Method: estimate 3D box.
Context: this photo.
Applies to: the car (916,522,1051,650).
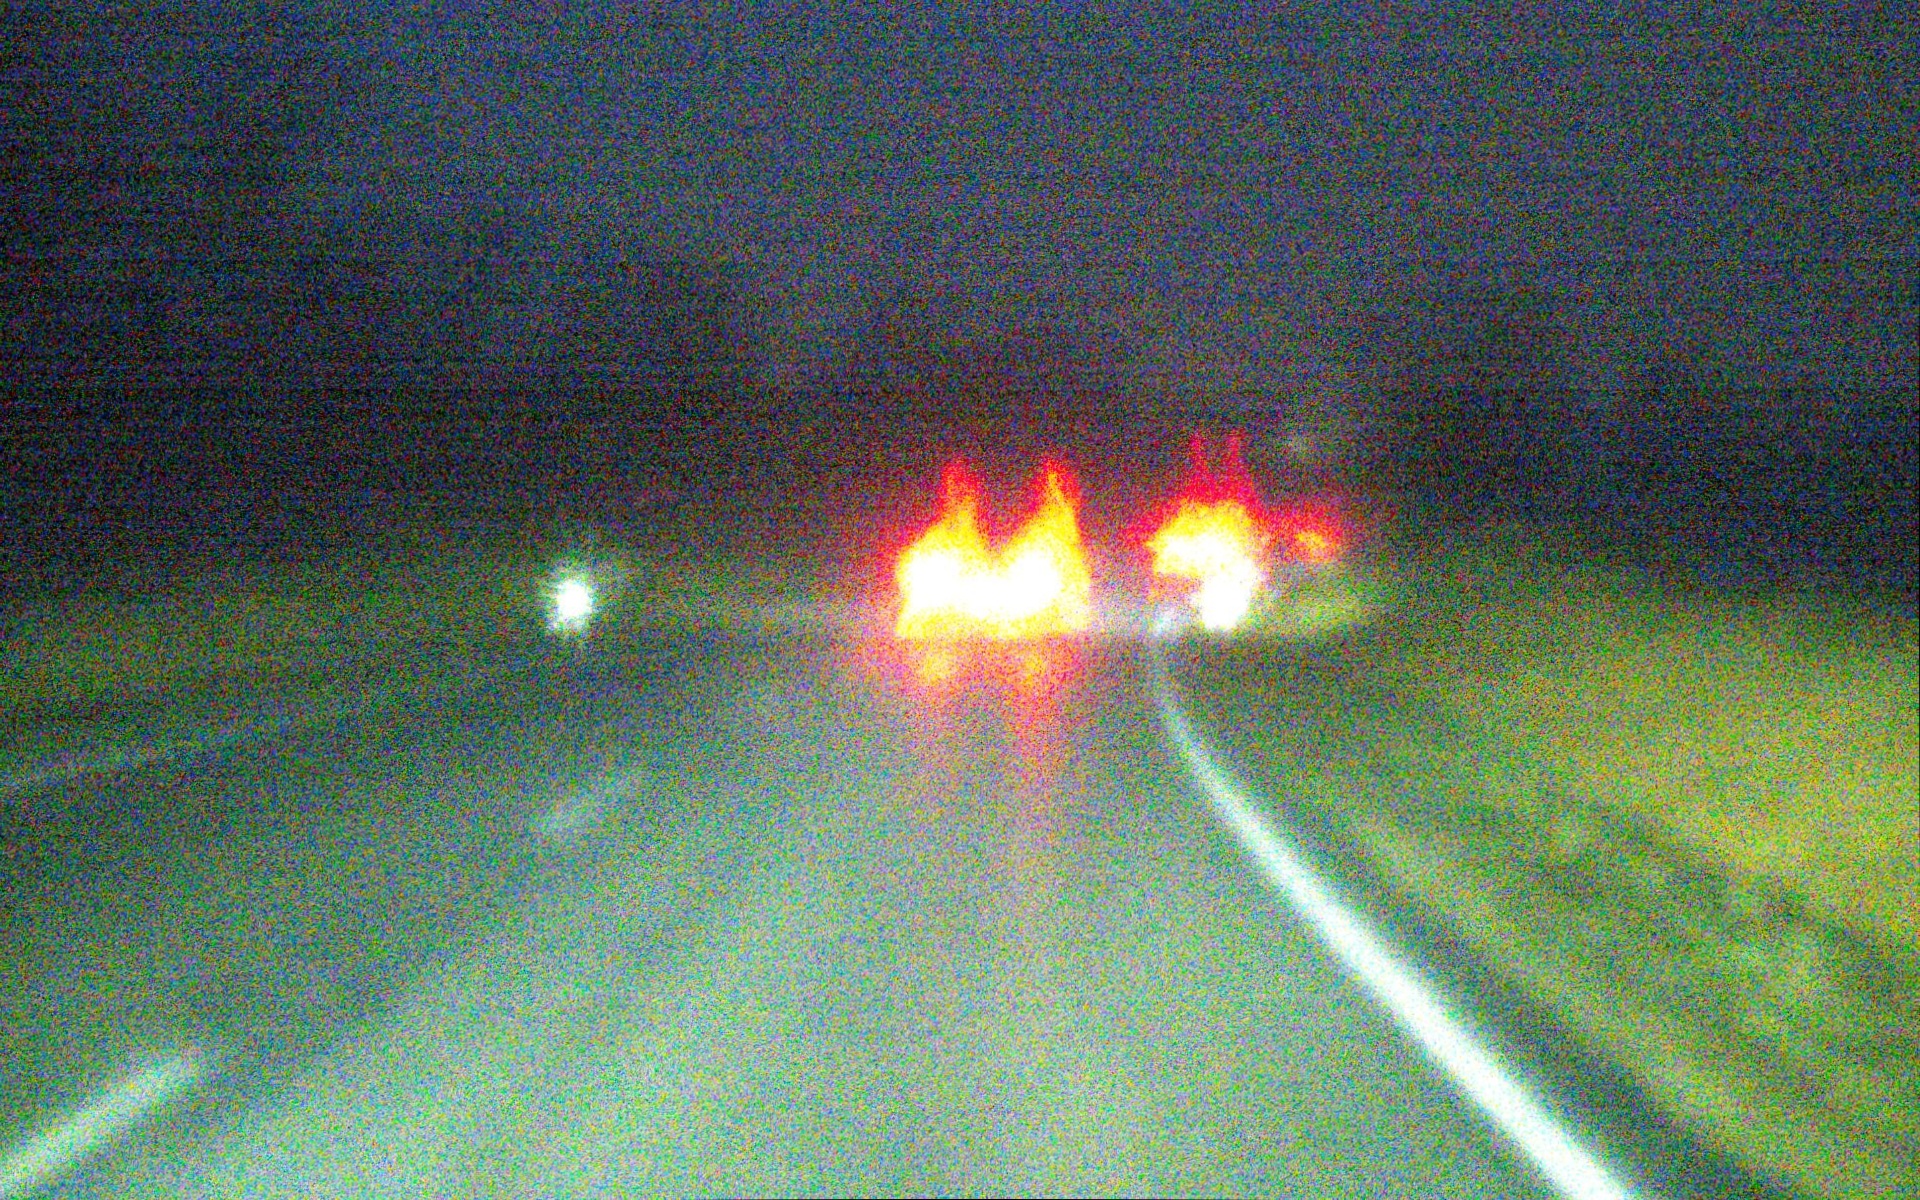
[{"bbox_3d":[0.343,-0.232,48.677,1.842,1.734,4.000,0,1,1],"label":"car"}]
